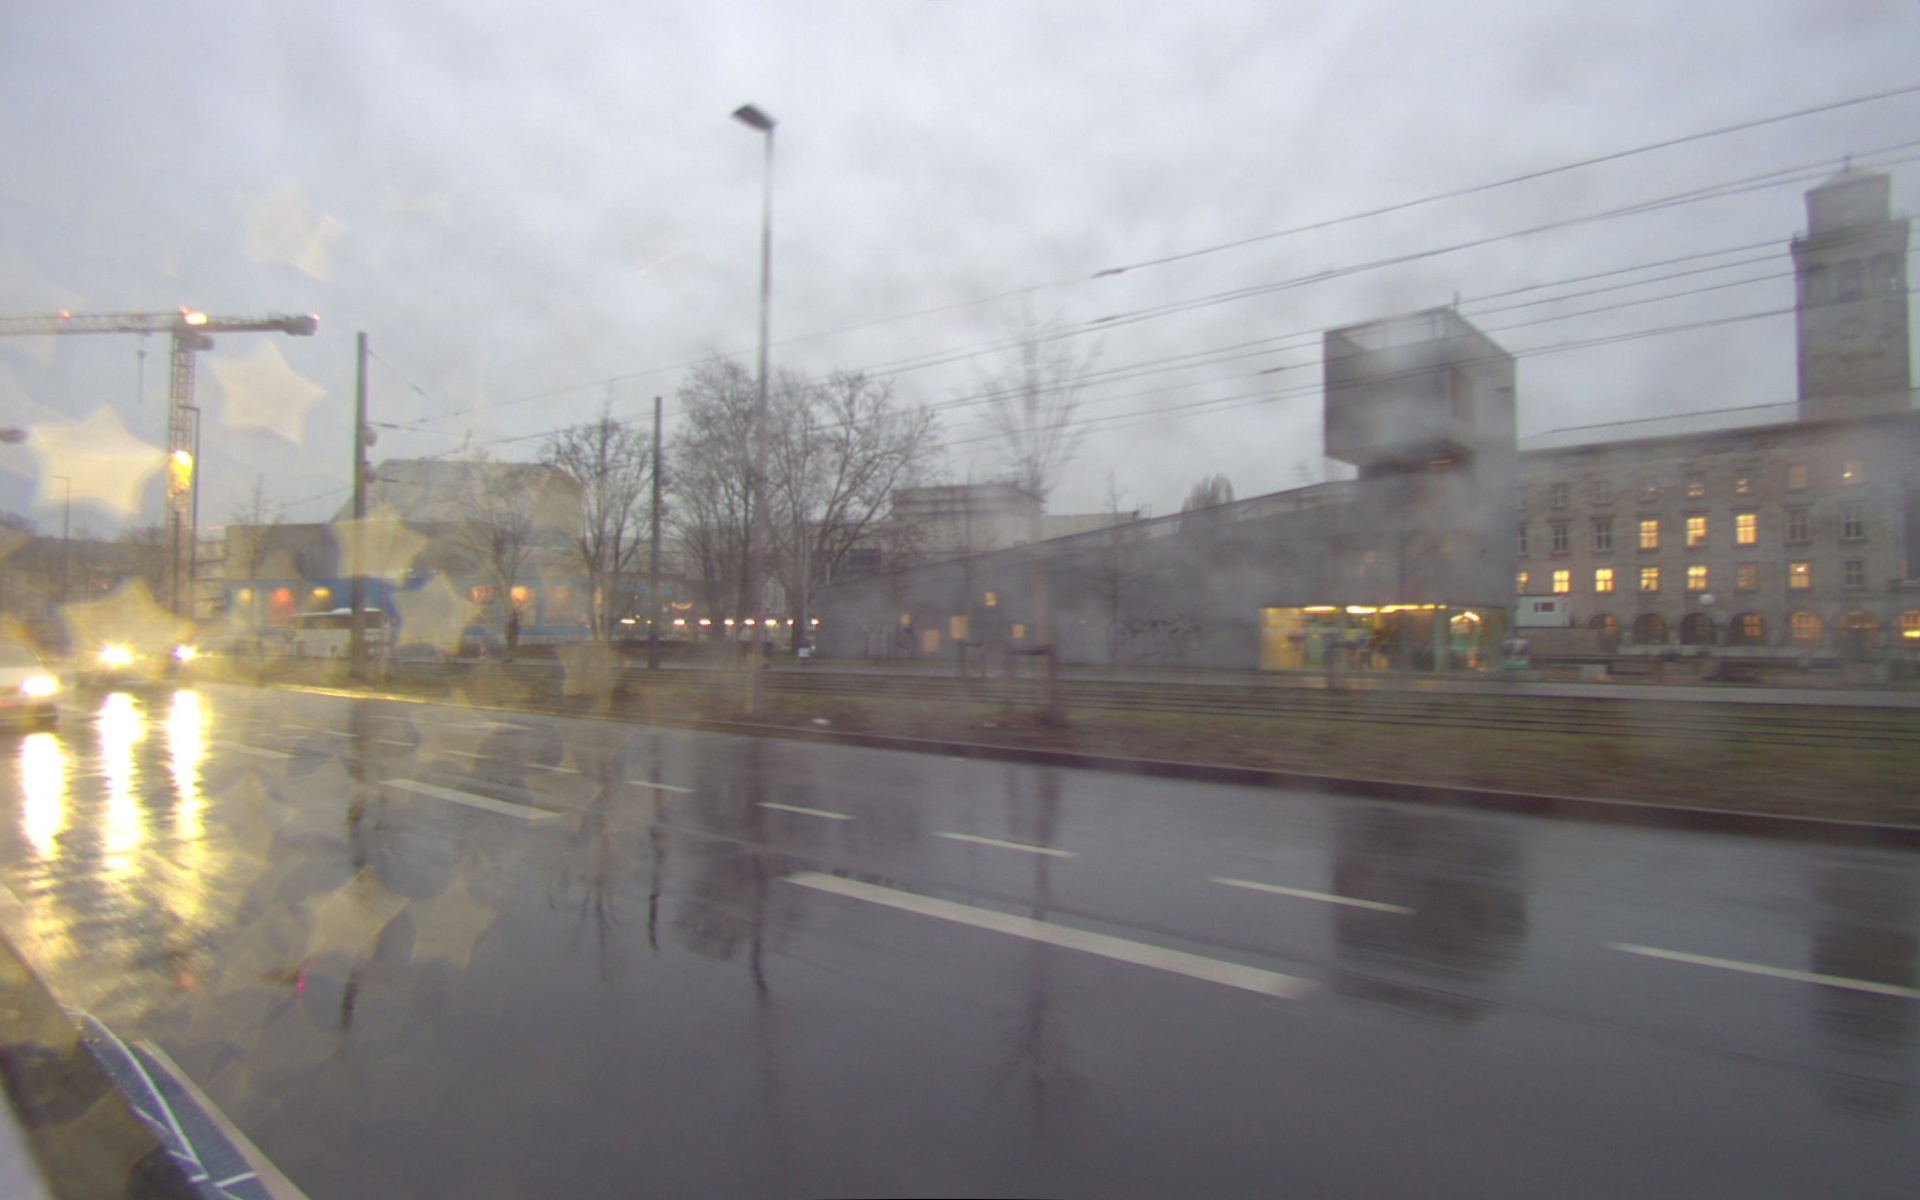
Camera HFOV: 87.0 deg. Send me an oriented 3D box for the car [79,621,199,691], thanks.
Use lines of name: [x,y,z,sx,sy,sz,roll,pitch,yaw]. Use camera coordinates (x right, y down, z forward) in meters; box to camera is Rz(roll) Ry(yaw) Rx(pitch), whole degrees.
car: [-22.273,1.501,27.399,4.610,1.756,1.685,-2,-4,41]

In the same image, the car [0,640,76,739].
car: [-16.019,1.395,16.439,4.125,1.486,1.756,-2,-6,39]

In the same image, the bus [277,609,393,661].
bus: [-46.271,2.621,74.718,12.280,3.605,2.782,-2,-3,36]
